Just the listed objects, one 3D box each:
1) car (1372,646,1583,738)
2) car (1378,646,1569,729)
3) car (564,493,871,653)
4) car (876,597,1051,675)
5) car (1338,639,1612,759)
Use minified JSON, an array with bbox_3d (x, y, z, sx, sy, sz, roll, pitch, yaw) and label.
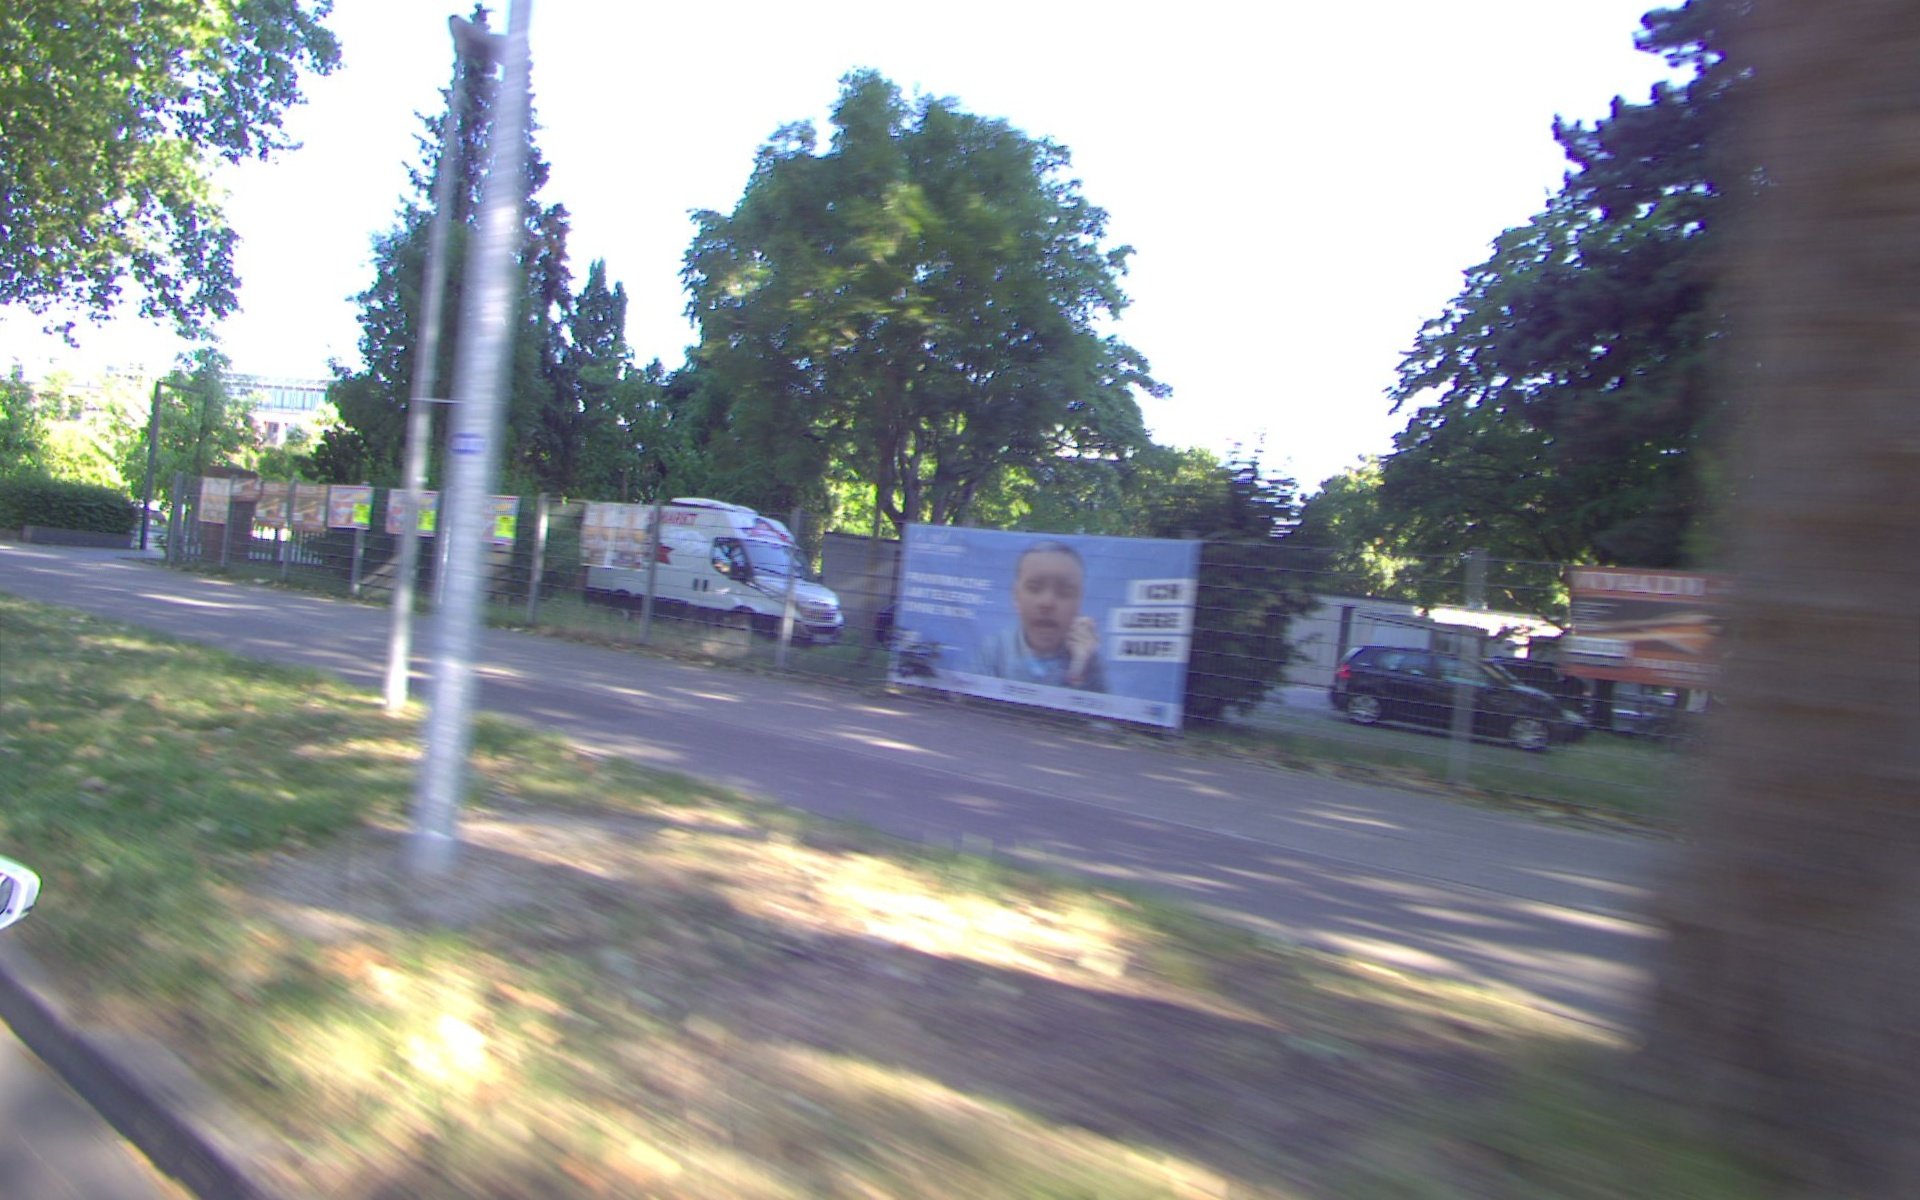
[{"bbox_3d":[11.521,2.038,22.594,3.931,1.469,1.999,6,-3,28],"label":"car"},{"bbox_3d":[12.553,2.141,24.756,3.931,1.469,1.999,6,-3,28],"label":"car"},{"bbox_3d":[-4.949,-0.615,19.963,6.245,2.528,1.996,6,-2,34],"label":"car"},{"bbox_3d":[0.093,0.935,26.047,3.931,1.469,1.999,6,-3,28],"label":"car"},{"bbox_3d":[8.888,1.692,17.610,3.931,1.469,1.999,6,-3,28],"label":"car"}]
